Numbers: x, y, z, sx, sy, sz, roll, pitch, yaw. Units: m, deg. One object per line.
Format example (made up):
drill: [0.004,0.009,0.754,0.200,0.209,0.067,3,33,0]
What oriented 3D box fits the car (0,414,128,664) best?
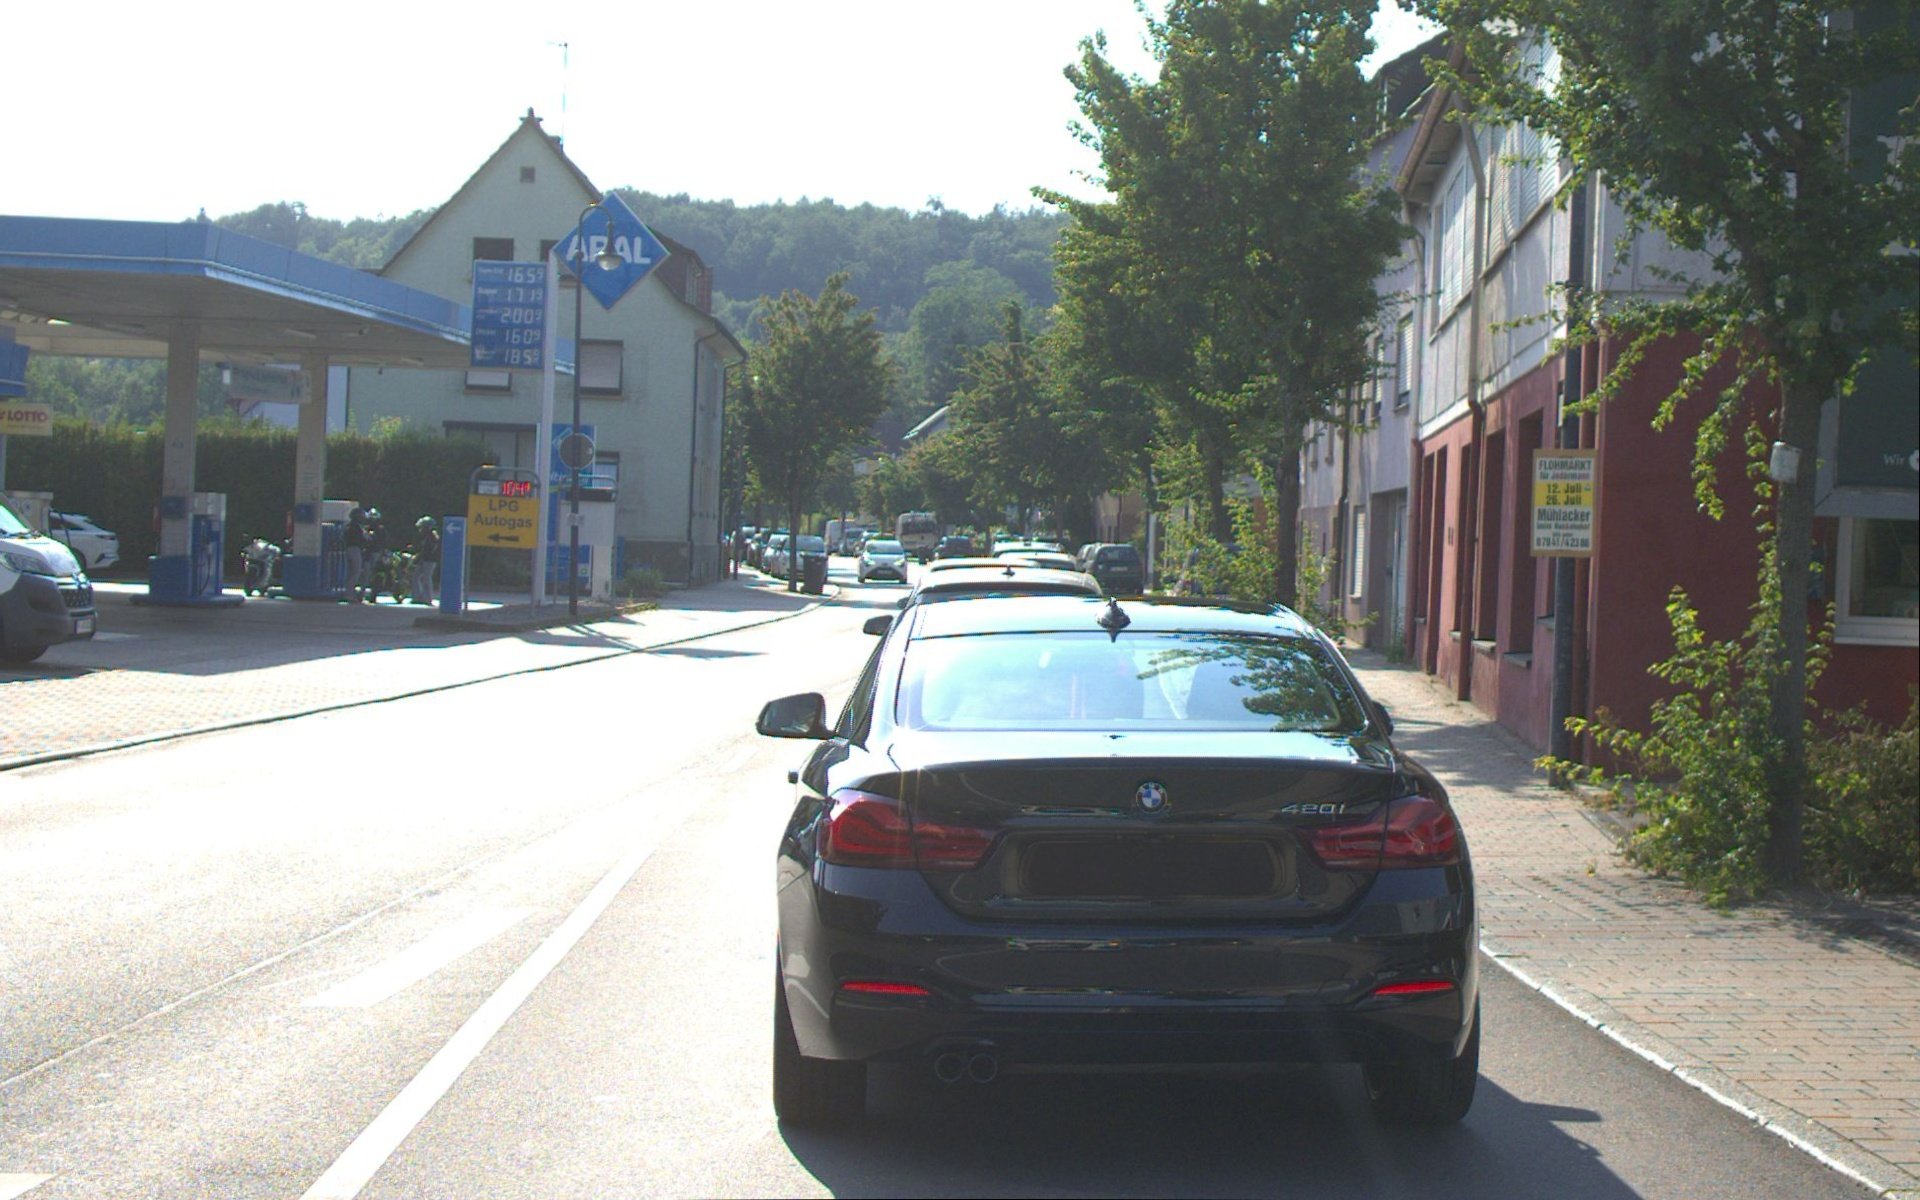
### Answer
car: [-11.848,-0.728,34.934,6.159,2.436,2.249,2,1,1]

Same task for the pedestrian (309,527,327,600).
pedestrian: [-12.100,-0.693,64.802,0.287,1.362,0.263,1,1,-3]

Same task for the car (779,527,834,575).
car: [-5.019,-1.616,112.712,1.597,1.480,3.475,2,1,0]

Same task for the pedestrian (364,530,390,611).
pedestrian: [-11.174,-0.573,65.933,0.407,1.541,0.433,1,1,-2]

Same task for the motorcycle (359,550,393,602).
motorcycle: [-11.120,-0.462,65.464,0.363,0.940,1.696,1,1,-1]

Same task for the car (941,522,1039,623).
car: [0.568,-0.529,62.901,1.603,1.761,3.410,1,1,3]

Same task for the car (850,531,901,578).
car: [-2.854,-1.558,116.785,1.597,1.480,3.475,2,1,0]

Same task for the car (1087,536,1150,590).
car: [4.604,-1.094,100.164,1.597,1.480,3.475,2,1,0]

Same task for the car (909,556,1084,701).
car: [0.432,0.269,36.811,1.754,1.409,3.422,1,1,2]

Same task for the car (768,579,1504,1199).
car: [0.379,0.664,10.139,1.699,1.364,4.263,1,1,-1]

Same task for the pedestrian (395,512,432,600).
pedestrian: [-10.486,-0.845,65.960,0.610,1.664,0.442,1,1,-2]

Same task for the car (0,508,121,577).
car: [-19.722,-1.256,73.982,3.150,1.423,1.440,1,1,-17]

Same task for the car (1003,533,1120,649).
car: [1.457,-0.158,50.513,1.591,1.595,3.893,1,1,0]

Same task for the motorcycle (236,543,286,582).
motorcycle: [-13.407,-0.720,65.967,0.459,0.727,1.473,1,1,8]

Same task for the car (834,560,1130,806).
car: [0.217,0.489,22.891,1.772,1.451,3.515,2,1,3]
